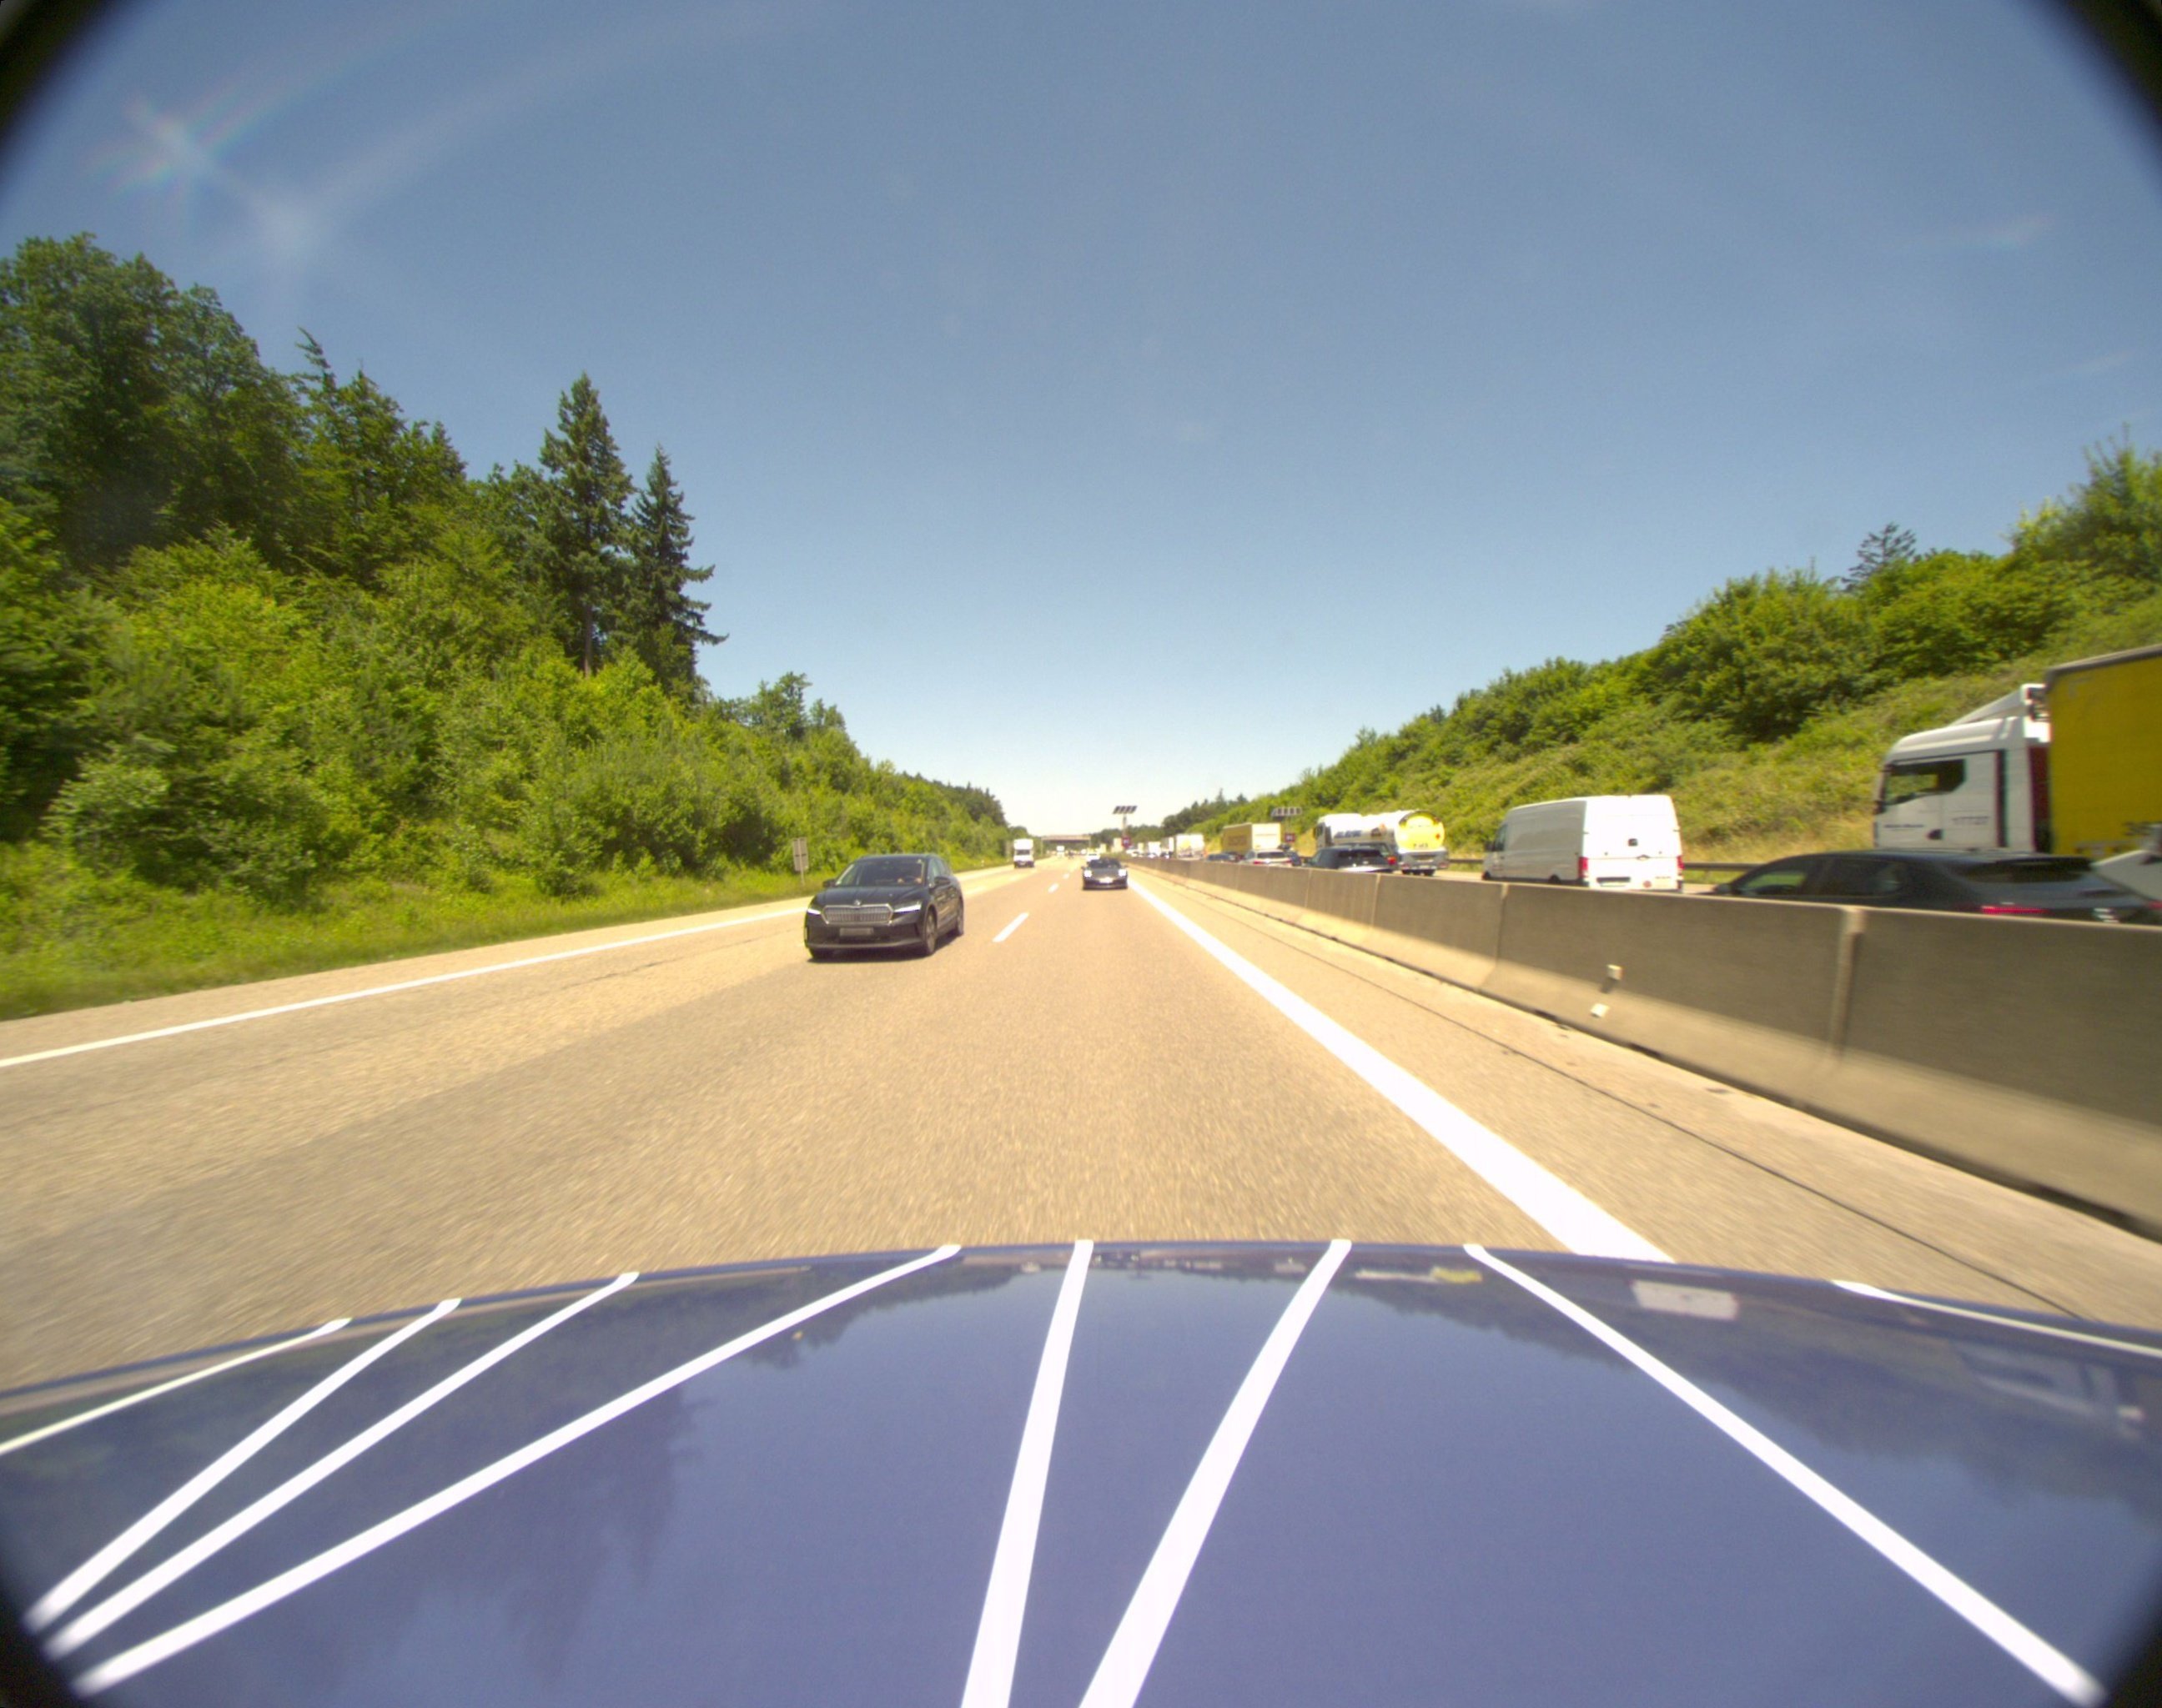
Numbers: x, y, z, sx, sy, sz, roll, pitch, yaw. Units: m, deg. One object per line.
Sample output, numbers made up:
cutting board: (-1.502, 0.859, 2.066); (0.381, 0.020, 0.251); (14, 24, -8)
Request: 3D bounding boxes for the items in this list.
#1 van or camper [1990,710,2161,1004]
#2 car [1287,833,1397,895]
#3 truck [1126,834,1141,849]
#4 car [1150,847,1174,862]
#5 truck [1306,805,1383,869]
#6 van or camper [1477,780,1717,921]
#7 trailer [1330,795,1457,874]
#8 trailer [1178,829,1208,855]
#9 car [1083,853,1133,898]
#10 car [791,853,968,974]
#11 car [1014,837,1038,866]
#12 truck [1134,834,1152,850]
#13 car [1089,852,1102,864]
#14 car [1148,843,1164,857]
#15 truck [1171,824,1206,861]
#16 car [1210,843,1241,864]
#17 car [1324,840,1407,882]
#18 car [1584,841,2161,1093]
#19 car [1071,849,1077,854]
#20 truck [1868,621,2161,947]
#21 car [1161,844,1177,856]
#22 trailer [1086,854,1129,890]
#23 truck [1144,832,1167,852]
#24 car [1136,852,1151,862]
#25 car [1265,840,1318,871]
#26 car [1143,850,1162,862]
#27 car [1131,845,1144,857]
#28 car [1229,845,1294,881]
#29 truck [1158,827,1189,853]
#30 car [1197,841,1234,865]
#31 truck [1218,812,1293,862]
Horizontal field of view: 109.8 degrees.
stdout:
van or camper: (11.717, 0.038, 5.220); (2.202, 2.922, 7.534); (-2, 1, 3)
car: (8.383, 0.255, 24.921); (1.832, 1.754, 4.990); (-2, 1, 0)
truck: (17.408, -4.181, 252.396); (3.706, 4.431, 19.448); (-2, 1, 1)
car: (8.635, 0.000, 81.363); (1.832, 1.488, 4.757); (-2, 1, -1)
truck: (16.669, -1.072, 48.461); (2.685, 3.722, 5.870); (-2, 1, -1)
van or camper: (12.178, -0.127, 18.808); (2.255, 2.760, 7.222); (-2, 1, 11)
trailer: (16.734, -0.948, 41.722); (2.616, 3.711, 10.681); (-2, 0, 1)
trailer: (17.055, -1.696, 116.489); (2.584, 3.273, 11.699); (-2, -2, -1)
car: (1.063, 0.753, 28.909); (1.718, 1.432, 4.457); (-2, 1, 3)
car: (-3.236, 0.859, 13.222); (1.990, 1.610, 4.455); (-2, 1, -2)
car: (-6.503, -0.349, 90.755); (2.303, 3.317, 7.620); (-2, 1, 0)
truck: (17.691, -3.448, 219.202); (3.706, 4.431, 19.448); (-2, 1, 1)
car: (1.864, 0.544, 98.354); (1.718, 1.432, 4.456); (-1, 1, 1)
car: (13.800, -0.802, 139.646); (2.190, 2.371, 6.539); (-2, 1, 0)
truck: (9.184, -0.999, 65.512); (2.273, 2.999, 6.776); (-2, 1, 2)
car: (13.238, -0.093, 69.811); (1.832, 1.754, 4.990); (-2, 1, 0)
car: (12.891, 0.247, 34.799); (2.002, 1.718, 4.758); (-2, 1, 0)
car: (7.865, 0.777, 7.987); (1.832, 1.754, 4.990); (-2, 1, 0)
car: (-2.027, -0.890, 231.364); (1.719, 1.432, 4.015); (-2, 1, -1)
truck: (16.467, -0.926, 5.889); (3.705, 4.431, 16.672); (-2, 1, 1)
car: (13.903, -0.644, 119.892); (1.832, 1.753, 4.757); (-2, 1, -1)
trailer: (1.153, 0.711, 32.238); (1.688, 1.399, 3.046); (-1, 1, 3)
truck: (17.872, -2.820, 183.707); (3.706, 4.431, 19.448); (-2, 1, 1)
car: (9.801, 0.432, 119.931); (1.832, 1.488, 4.757); (-2, 1, -1)
car: (13.041, 0.036, 47.413); (1.832, 1.754, 4.989); (-2, 1, 0)
car: (9.404, 0.245, 100.000); (1.832, 1.488, 4.757); (-2, 1, -1)
car: (10.185, -0.519, 138.273); (1.831, 1.966, 5.663); (-2, 1, -1)
car: (8.446, 0.373, 35.907); (1.832, 1.488, 4.757); (-2, 1, -1)
truck: (17.223, -2.623, 143.040); (3.706, 4.431, 17.378); (-2, 1, 1)
car: (8.845, -0.108, 50.418); (1.832, 1.488, 4.759); (-2, 1, 3)
truck: (17.388, -1.726, 77.640); (3.706, 4.431, 17.378); (-2, 1, 1)
